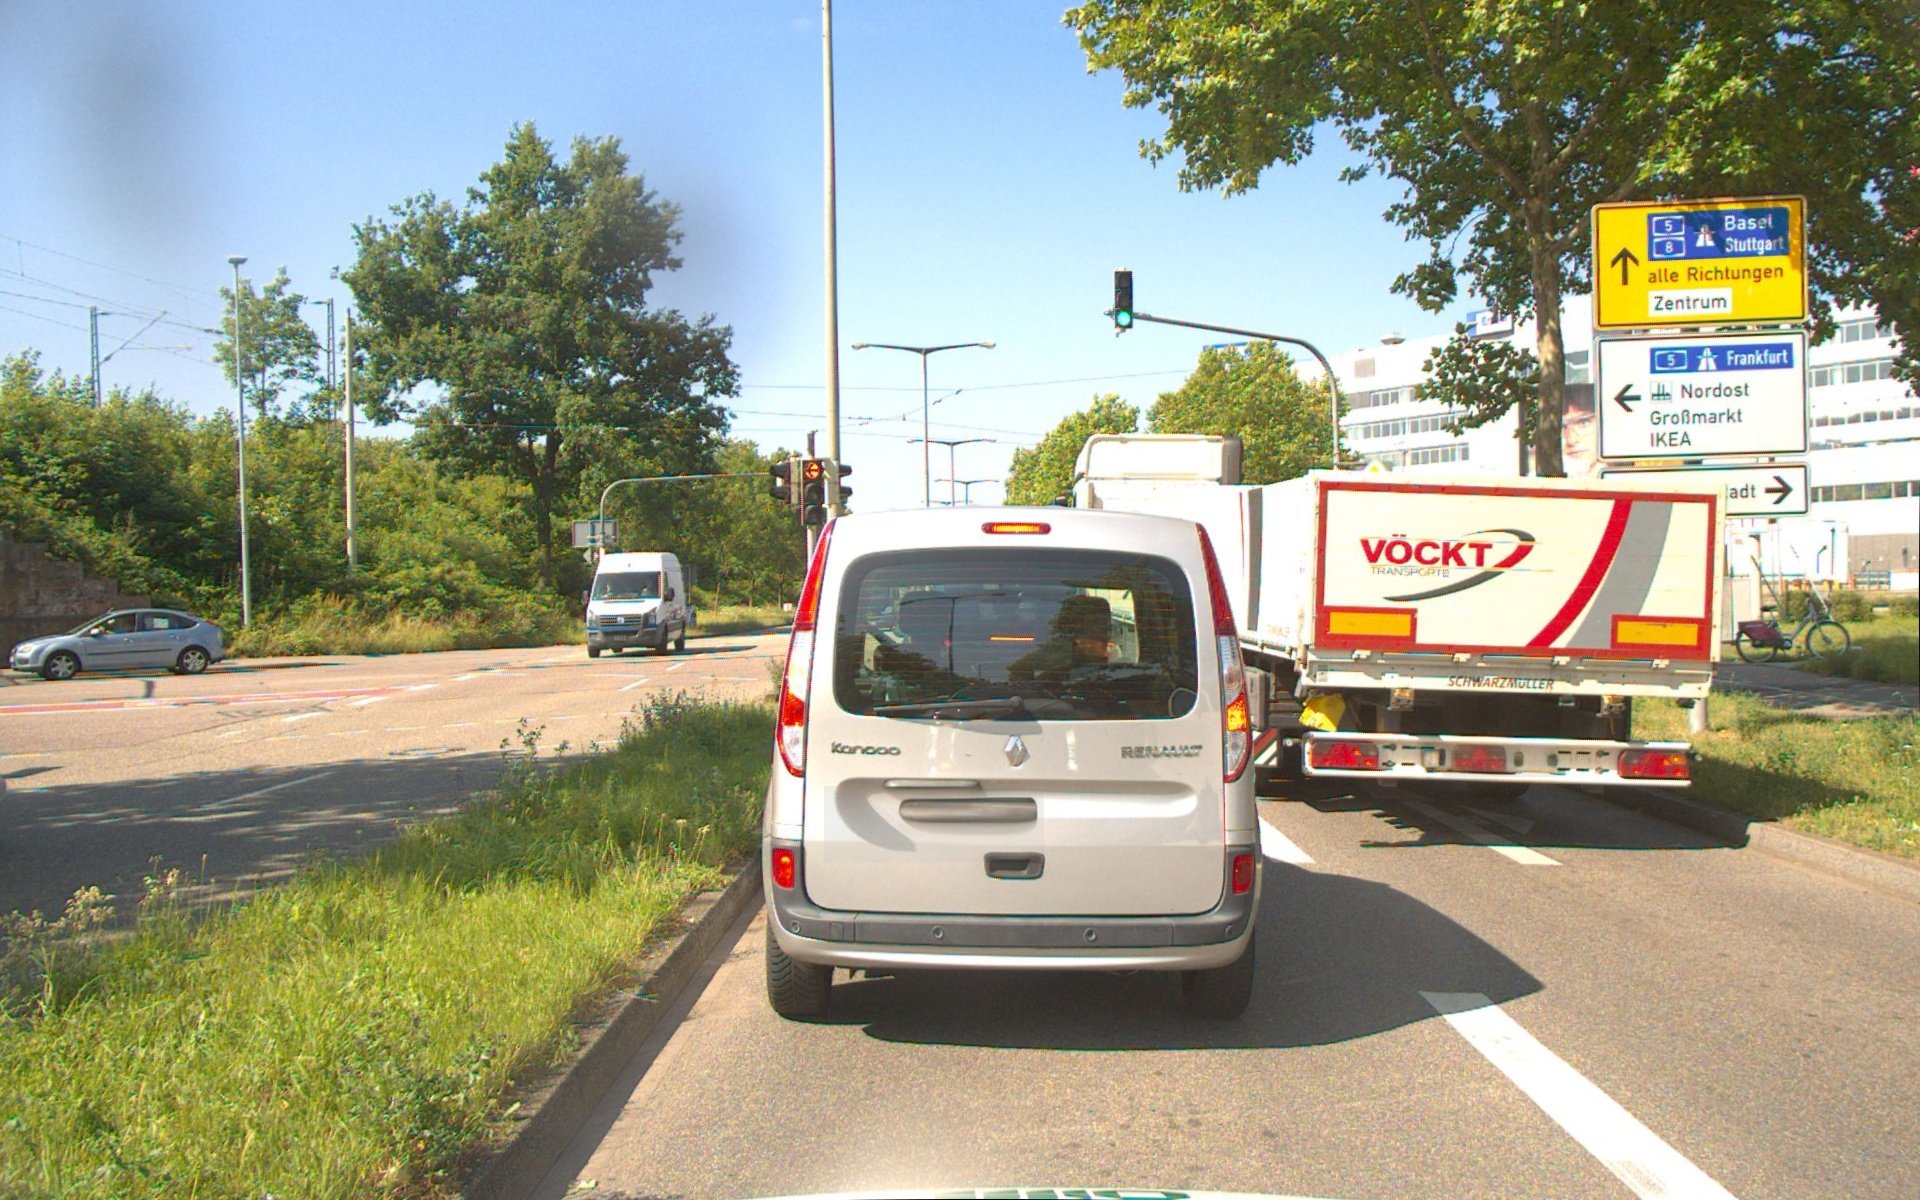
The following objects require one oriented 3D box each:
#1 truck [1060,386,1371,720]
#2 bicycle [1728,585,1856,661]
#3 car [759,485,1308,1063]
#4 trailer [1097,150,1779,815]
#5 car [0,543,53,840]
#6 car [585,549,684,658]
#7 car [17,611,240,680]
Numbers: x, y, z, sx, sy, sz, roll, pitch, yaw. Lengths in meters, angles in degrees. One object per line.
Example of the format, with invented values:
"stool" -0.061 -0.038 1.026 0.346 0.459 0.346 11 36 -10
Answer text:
"truck" 3.163 -0.535 22.691 3.009 3.823 7.474 0 0 -1
"bicycle" 13.693 0.373 27.246 1.786 1.235 0.633 0 0 5
"car" 0.220 0.545 7.148 1.713 1.803 3.949 0 0 0
"trailer" 3.256 -0.674 15.616 2.954 3.806 12.239 0 0 0
"car" -7.187 0.638 8.792 1.953 1.924 4.987 -3 0 -1
"car" -8.441 0.087 43.366 2.019 2.660 5.862 0 0 -6
"car" -18.515 0.971 36.921 4.184 1.433 1.891 0 0 -38
